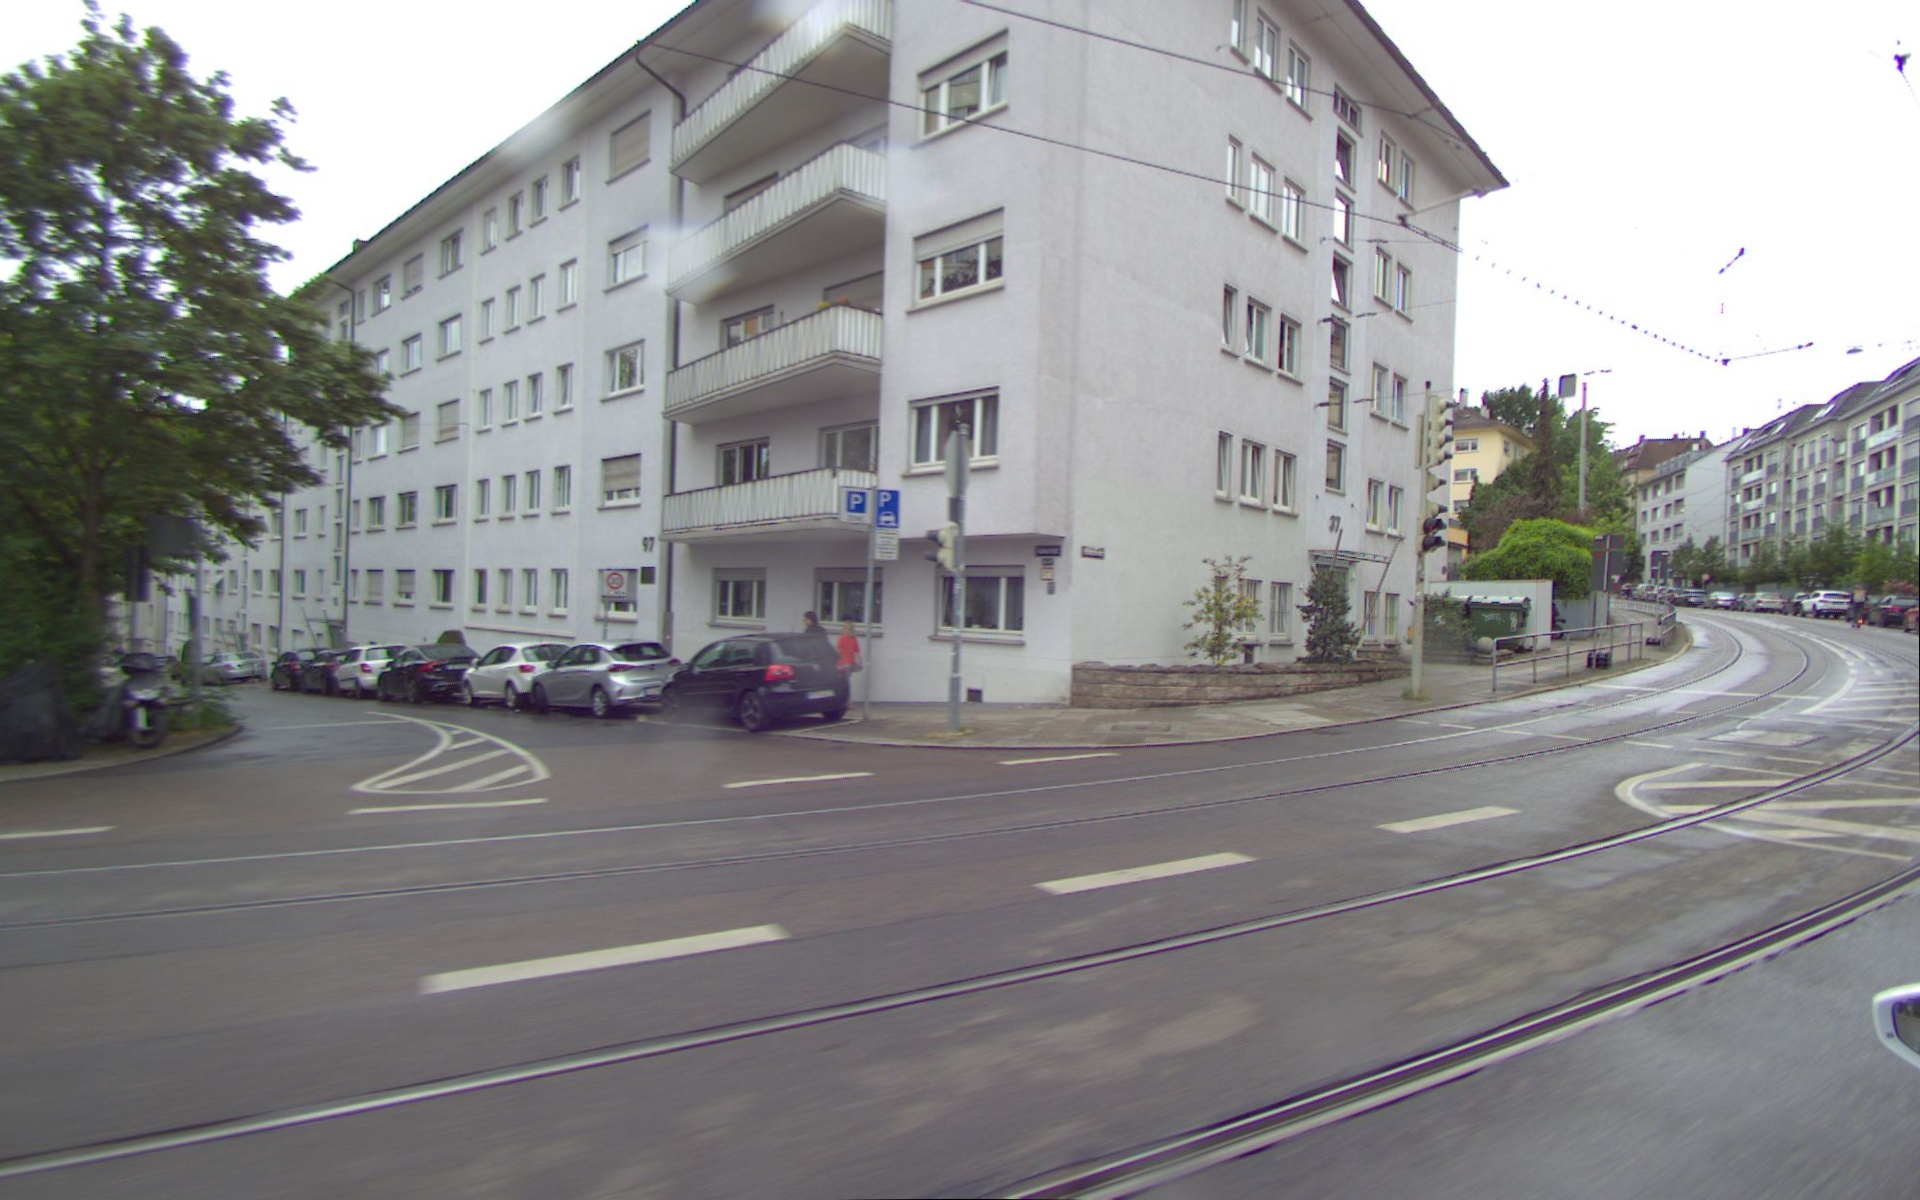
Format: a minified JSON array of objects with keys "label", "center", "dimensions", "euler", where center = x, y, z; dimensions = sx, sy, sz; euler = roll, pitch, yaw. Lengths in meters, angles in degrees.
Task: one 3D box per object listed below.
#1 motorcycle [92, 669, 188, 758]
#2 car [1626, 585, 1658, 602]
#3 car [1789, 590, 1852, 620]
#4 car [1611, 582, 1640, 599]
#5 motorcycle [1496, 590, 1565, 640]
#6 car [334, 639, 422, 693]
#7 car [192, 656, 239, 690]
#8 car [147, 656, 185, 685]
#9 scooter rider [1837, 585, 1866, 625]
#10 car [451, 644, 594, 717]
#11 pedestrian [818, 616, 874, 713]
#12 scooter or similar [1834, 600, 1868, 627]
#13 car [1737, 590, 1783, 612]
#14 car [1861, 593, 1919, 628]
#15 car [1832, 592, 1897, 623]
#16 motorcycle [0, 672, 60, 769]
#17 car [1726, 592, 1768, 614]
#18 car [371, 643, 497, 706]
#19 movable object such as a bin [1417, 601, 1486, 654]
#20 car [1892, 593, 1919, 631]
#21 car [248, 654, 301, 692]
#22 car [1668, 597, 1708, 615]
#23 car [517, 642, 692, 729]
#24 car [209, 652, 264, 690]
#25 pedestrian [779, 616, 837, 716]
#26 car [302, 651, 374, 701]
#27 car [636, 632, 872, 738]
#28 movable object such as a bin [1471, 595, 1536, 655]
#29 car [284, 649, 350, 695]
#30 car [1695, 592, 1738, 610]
[{"label":"motorcycle","center":[-11.365,1.535,13.897],"dimensions":[2.089,1.063,0.483],"euler":[-1,2,36]},{"label":"car","center":[74.123,-0.758,109.163],"dimensions":[1.737,1.707,4.247],"euler":[3,2,19]},{"label":"car","center":[50.819,0.279,59.396],"dimensions":[1.809,1.594,4.241],"euler":[4,3,28]},{"label":"car","center":[75.710,-1.102,114.363],"dimensions":[1.737,1.707,4.247],"euler":[3,2,20]},{"label":"motorcycle","center":[19.014,0.491,33.511],"dimensions":[1.899,1.622,0.593],"euler":[-1,2,39]},{"label":"car","center":[-17.437,1.931,30.062],"dimensions":[1.516,1.460,3.280],"euler":[1,-1,-44]},{"label":"car","center":[-35.722,3.460,48.170],"dimensions":[1.386,1.460,3.022],"euler":[1,-1,-44]},{"label":"car","center":[-44.888,3.964,56.764],"dimensions":[1.386,1.460,3.022],"euler":[1,-1,-44]},{"label":"scooter rider","center":[39.425,0.212,44.437],"dimensions":[0.613,1.729,0.843],"euler":[4,4,25]},{"label":"car","center":[-10.176,1.792,23.280],"dimensions":[3.694,1.460,1.611],"euler":[-1,-1,41]},{"label":"pedestrian","center":[-2.114,1.176,18.650],"dimensions":[0.668,1.723,0.736],"euler":[-3,2,-43]},{"label":"scooter or similar","center":[39.585,0.586,44.630],"dimensions":[0.505,1.064,2.007],"euler":[4,3,25]},{"label":"car","center":[58.486,0.092,73.508],"dimensions":[1.636,1.491,4.502],"euler":[3,2,27]},{"label":"car","center":[43.513,0.467,46.724],"dimensions":[1.659,1.456,4.054],"euler":[2,2,32]},{"label":"car","center":[46.445,0.345,51.675],"dimensions":[1.533,1.456,4.295],"euler":[2,2,30]},{"label":"motorcycle","center":[-12.099,1.502,12.808],"dimensions":[2.089,1.063,0.483],"euler":[-1,2,36]},{"label":"car","center":[60.684,0.187,77.482],"dimensions":[1.675,1.532,3.710],"euler":[3,3,25]},{"label":"car","center":[-13.814,1.889,26.298],"dimensions":[3.694,1.460,1.696],"euler":[-1,-1,41]},{"label":"movable object such as a bin","center":[13.289,0.729,27.153],"dimensions":[1.354,1.354,1.318],"euler":[-1,2,43]},{"label":"car","center":[39.013,0.489,40.364],"dimensions":[1.698,1.456,3.829],"euler":[2,2,34]},{"label":"car","center":[-29.395,3.113,43.057],"dimensions":[1.386,1.460,3.022],"euler":[1,-1,-44]},{"label":"car","center":[67.354,0.528,93.014],"dimensions":[1.737,1.637,4.248],"euler":[1,1,17]},{"label":"car","center":[-7.263,1.657,20.370],"dimensions":[3.835,1.474,1.645],"euler":[-2,1,41]},{"label":"car","center":[-32.641,3.169,45.301],"dimensions":[1.453,1.485,3.370],"euler":[-3,2,-45]},{"label":"pedestrian","center":[-2.728,1.166,18.040],"dimensions":[0.735,1.723,0.669],"euler":[0,2,43]},{"label":"car","center":[-20.479,2.460,33.021],"dimensions":[1.386,1.460,3.022],"euler":[1,-1,-44]},{"label":"car","center":[-3.598,1.338,17.111],"dimensions":[4.194,1.474,1.844],"euler":[-2,1,44]},{"label":"movable object such as a bin","center":[14.196,0.649,26.239],"dimensions":[1.173,1.481,1.282],"euler":[-1,1,43]},{"label":"car","center":[-22.727,2.507,35.472],"dimensions":[1.386,1.460,3.022],"euler":[1,-1,-44]},{"label":"car","center":[63.536,0.059,84.437],"dimensions":[1.734,1.454,4.636],"euler":[1,1,23]}]
